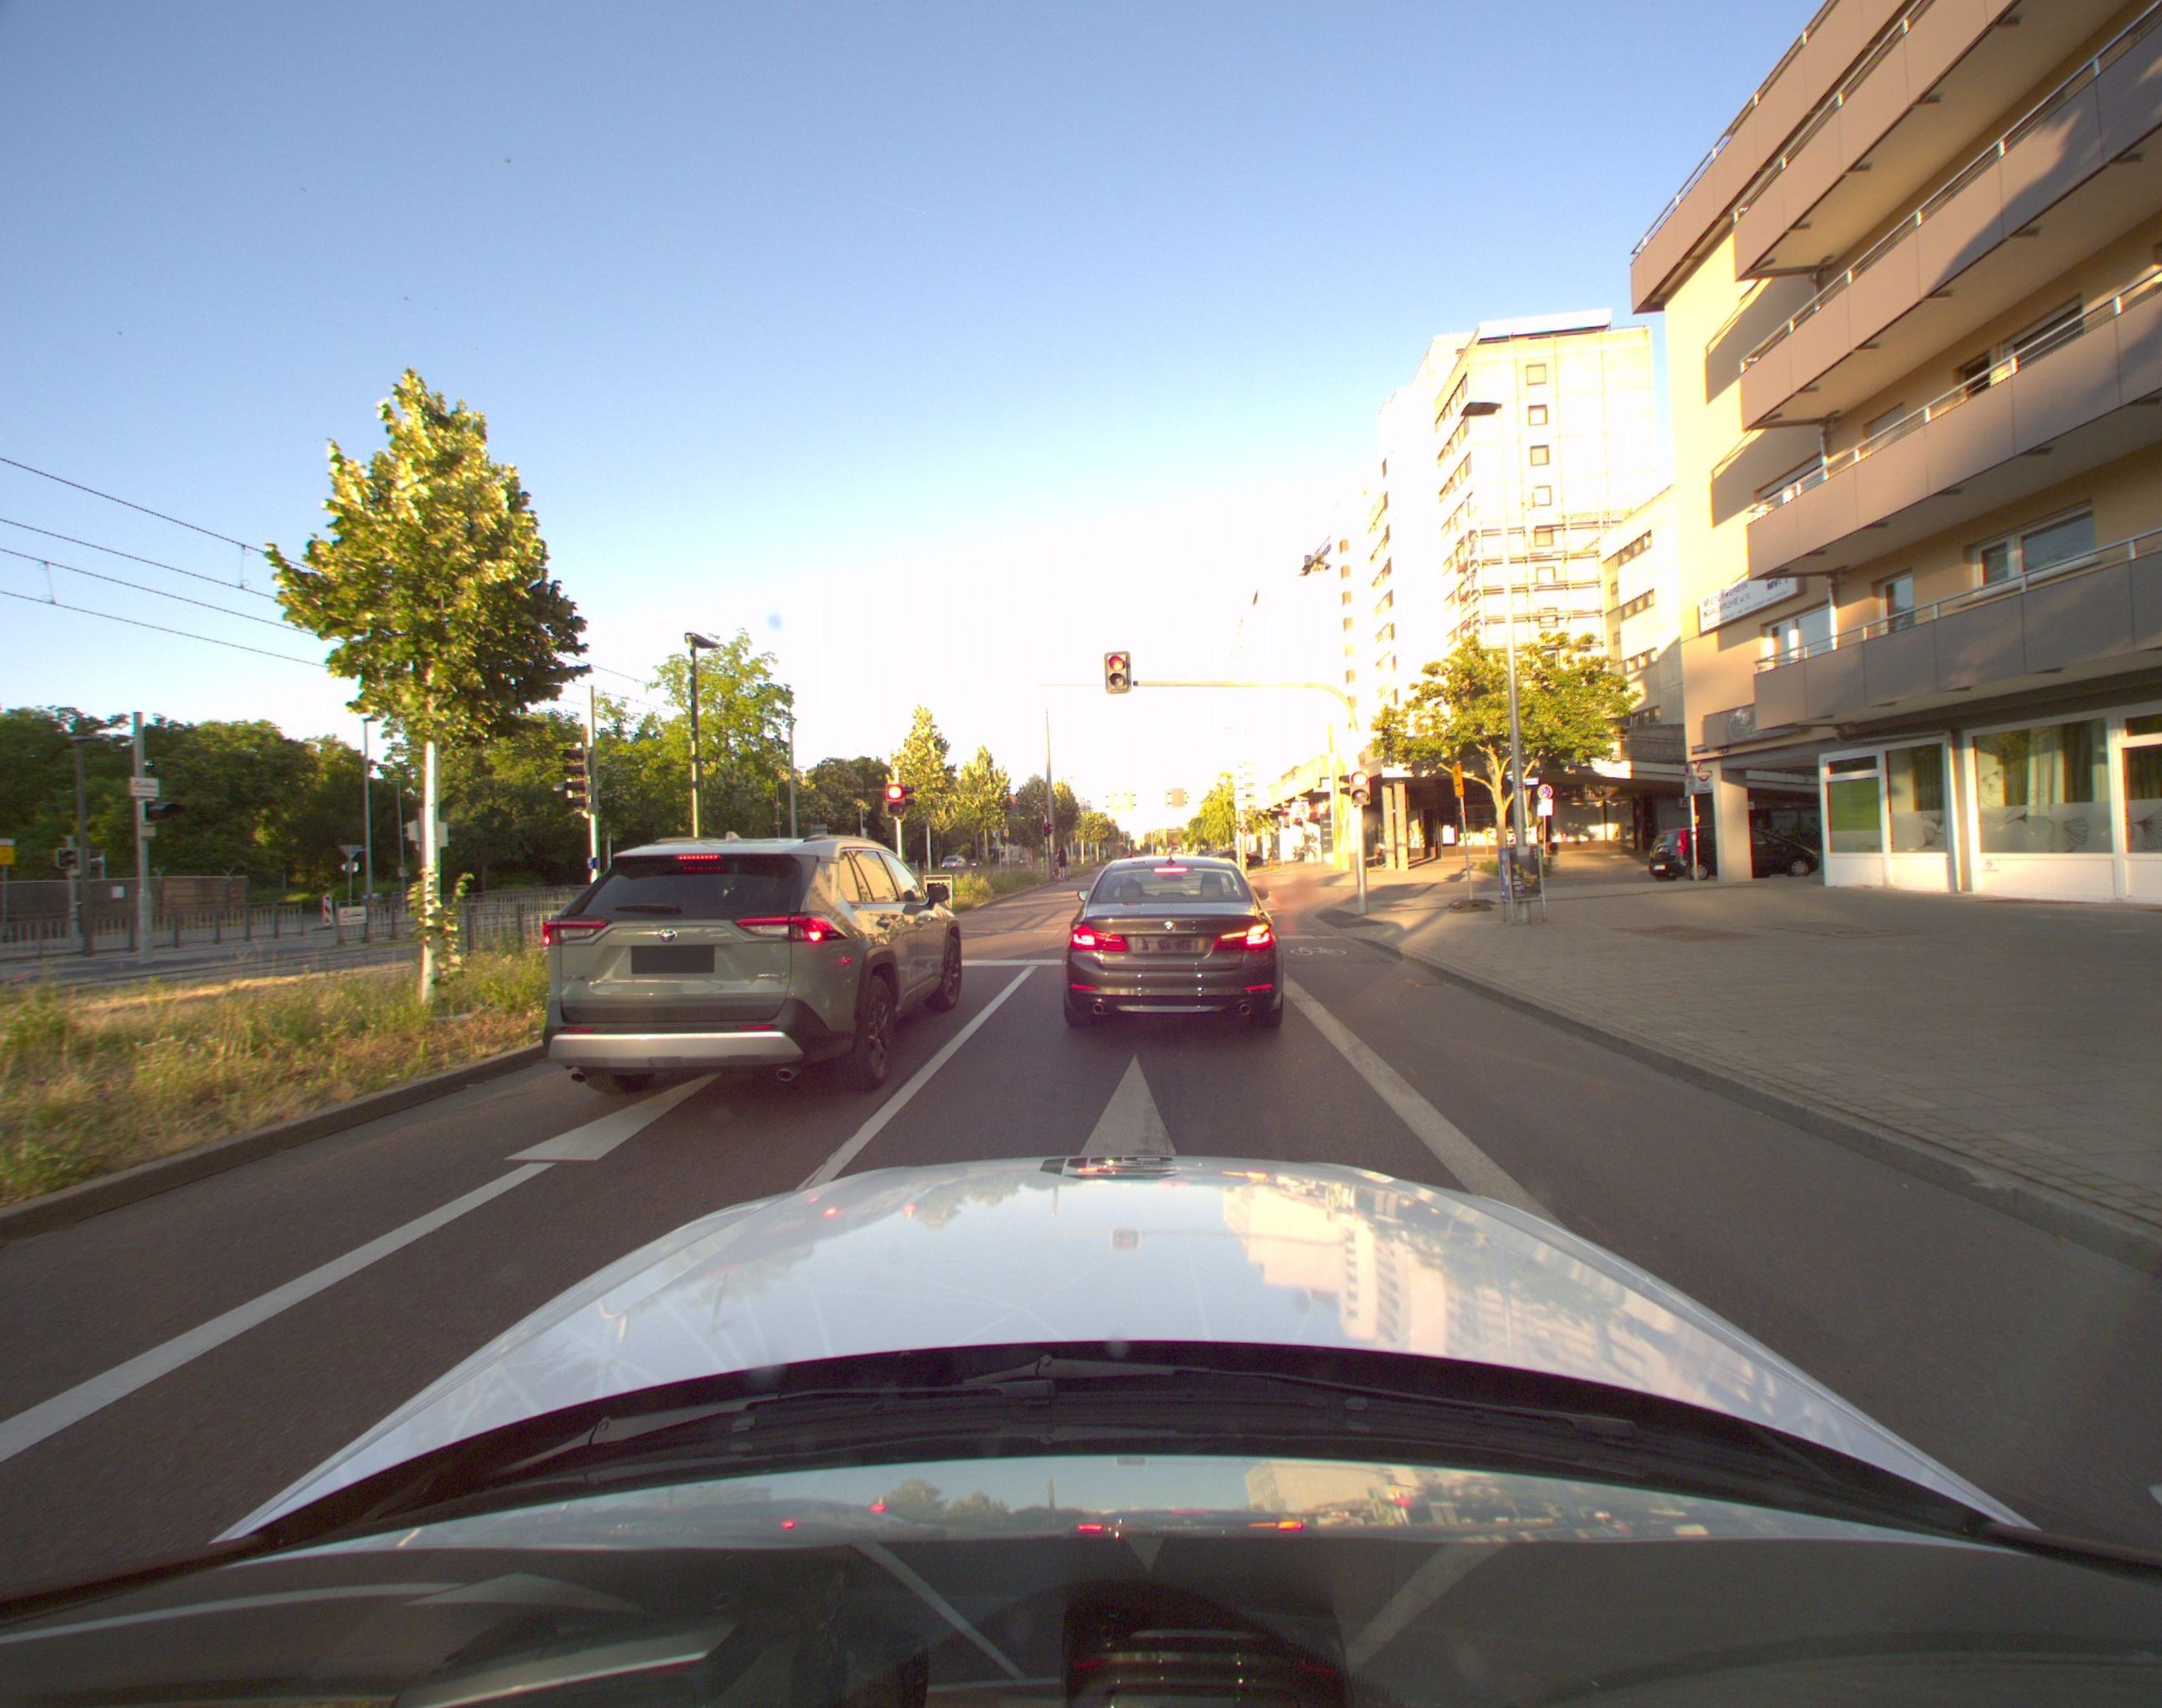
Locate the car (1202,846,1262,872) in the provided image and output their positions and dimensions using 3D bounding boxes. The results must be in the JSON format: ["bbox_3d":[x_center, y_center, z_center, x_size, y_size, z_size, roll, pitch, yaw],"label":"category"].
[{"bbox_3d":[10.785,0.319,57.985,4.289,1.658,1.839,-2,1,-38],"label":"car"}]

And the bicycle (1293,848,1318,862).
[{"bbox_3d":[19.191,0.118,69.728,2.004,1.149,0.692,1,-1,10],"label":"bicycle"}]

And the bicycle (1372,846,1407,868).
[{"bbox_3d":[15.973,0.162,42.213,0.689,1.149,2.013,1,-1,-14],"label":"bicycle"}]

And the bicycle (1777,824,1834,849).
[{"bbox_3d":[33.640,-0.784,37.846,0.582,1.075,1.964,1,-1,-19],"label":"bicycle"}]

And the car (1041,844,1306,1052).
[{"bbox_3d":[0.885,0.679,8.281,1.923,1.481,4.529,-1,1,5],"label":"car"}]

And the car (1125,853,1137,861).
[{"bbox_3d":[9.132,0.531,148.508,1.970,1.433,4.849,-1,1,4],"label":"car"}]

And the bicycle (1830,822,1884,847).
[{"bbox_3d":[35.363,-0.882,37.146,0.579,1.075,1.975,1,-1,-2],"label":"bicycle"}]

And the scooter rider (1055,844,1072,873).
[{"bbox_3d":[-0.961,0.259,44.150,0.817,1.514,0.653,-2,0,1],"label":"scooter rider"}]

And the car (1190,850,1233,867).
[{"bbox_3d":[13.799,0.495,86.272,4.282,1.658,1.842,-2,1,-31],"label":"car"}]

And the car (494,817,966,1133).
[{"bbox_3d":[-2.173,0.608,6.492,1.848,1.658,4.268,-1,1,0],"label":"car"}]

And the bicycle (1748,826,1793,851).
[{"bbox_3d":[31.620,-0.683,37.396,0.578,1.075,1.981,1,-1,7],"label":"bicycle"}]

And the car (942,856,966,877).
[{"bbox_3d":[-14.272,1.385,91.807,1.988,2.168,4.749,-1,1,-1],"label":"car"}]

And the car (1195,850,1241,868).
[{"bbox_3d":[13.491,0.463,80.222,4.283,1.658,1.842,-2,1,-32],"label":"car"}]

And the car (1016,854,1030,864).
[{"bbox_3d":[-9.760,0.845,137.448,1.791,1.481,3.788,-2,0,5],"label":"car"}]

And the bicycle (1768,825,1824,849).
[{"bbox_3d":[33.162,-0.767,37.805,0.582,1.075,1.967,1,-1,-15],"label":"bicycle"}]

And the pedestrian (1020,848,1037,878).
[{"bbox_3d":[-2.978,0.512,46.529,0.831,1.712,0.648,-2,0,3],"label":"pedestrian"}]

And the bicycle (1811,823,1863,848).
[{"bbox_3d":[34.786,-0.833,37.491,0.579,1.075,1.977,1,-1,1],"label":"bicycle"}]

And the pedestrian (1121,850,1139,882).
[{"bbox_3d":[2.509,0.603,41.586,0.831,1.586,0.813,-3,0,5],"label":"pedestrian"}]

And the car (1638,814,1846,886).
[{"bbox_3d":[17.992,-0.068,22.357,4.017,1.585,1.709,-4,-3,8],"label":"car"}]

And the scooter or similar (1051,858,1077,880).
[{"bbox_3d":[-0.939,0.810,44.116,1.324,1.153,0.514,-3,0,1],"label":"scooter or similar"}]

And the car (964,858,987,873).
[{"bbox_3d":[-13.590,1.467,105.161,1.985,1.744,4.755,-1,1,3],"label":"car"}]
